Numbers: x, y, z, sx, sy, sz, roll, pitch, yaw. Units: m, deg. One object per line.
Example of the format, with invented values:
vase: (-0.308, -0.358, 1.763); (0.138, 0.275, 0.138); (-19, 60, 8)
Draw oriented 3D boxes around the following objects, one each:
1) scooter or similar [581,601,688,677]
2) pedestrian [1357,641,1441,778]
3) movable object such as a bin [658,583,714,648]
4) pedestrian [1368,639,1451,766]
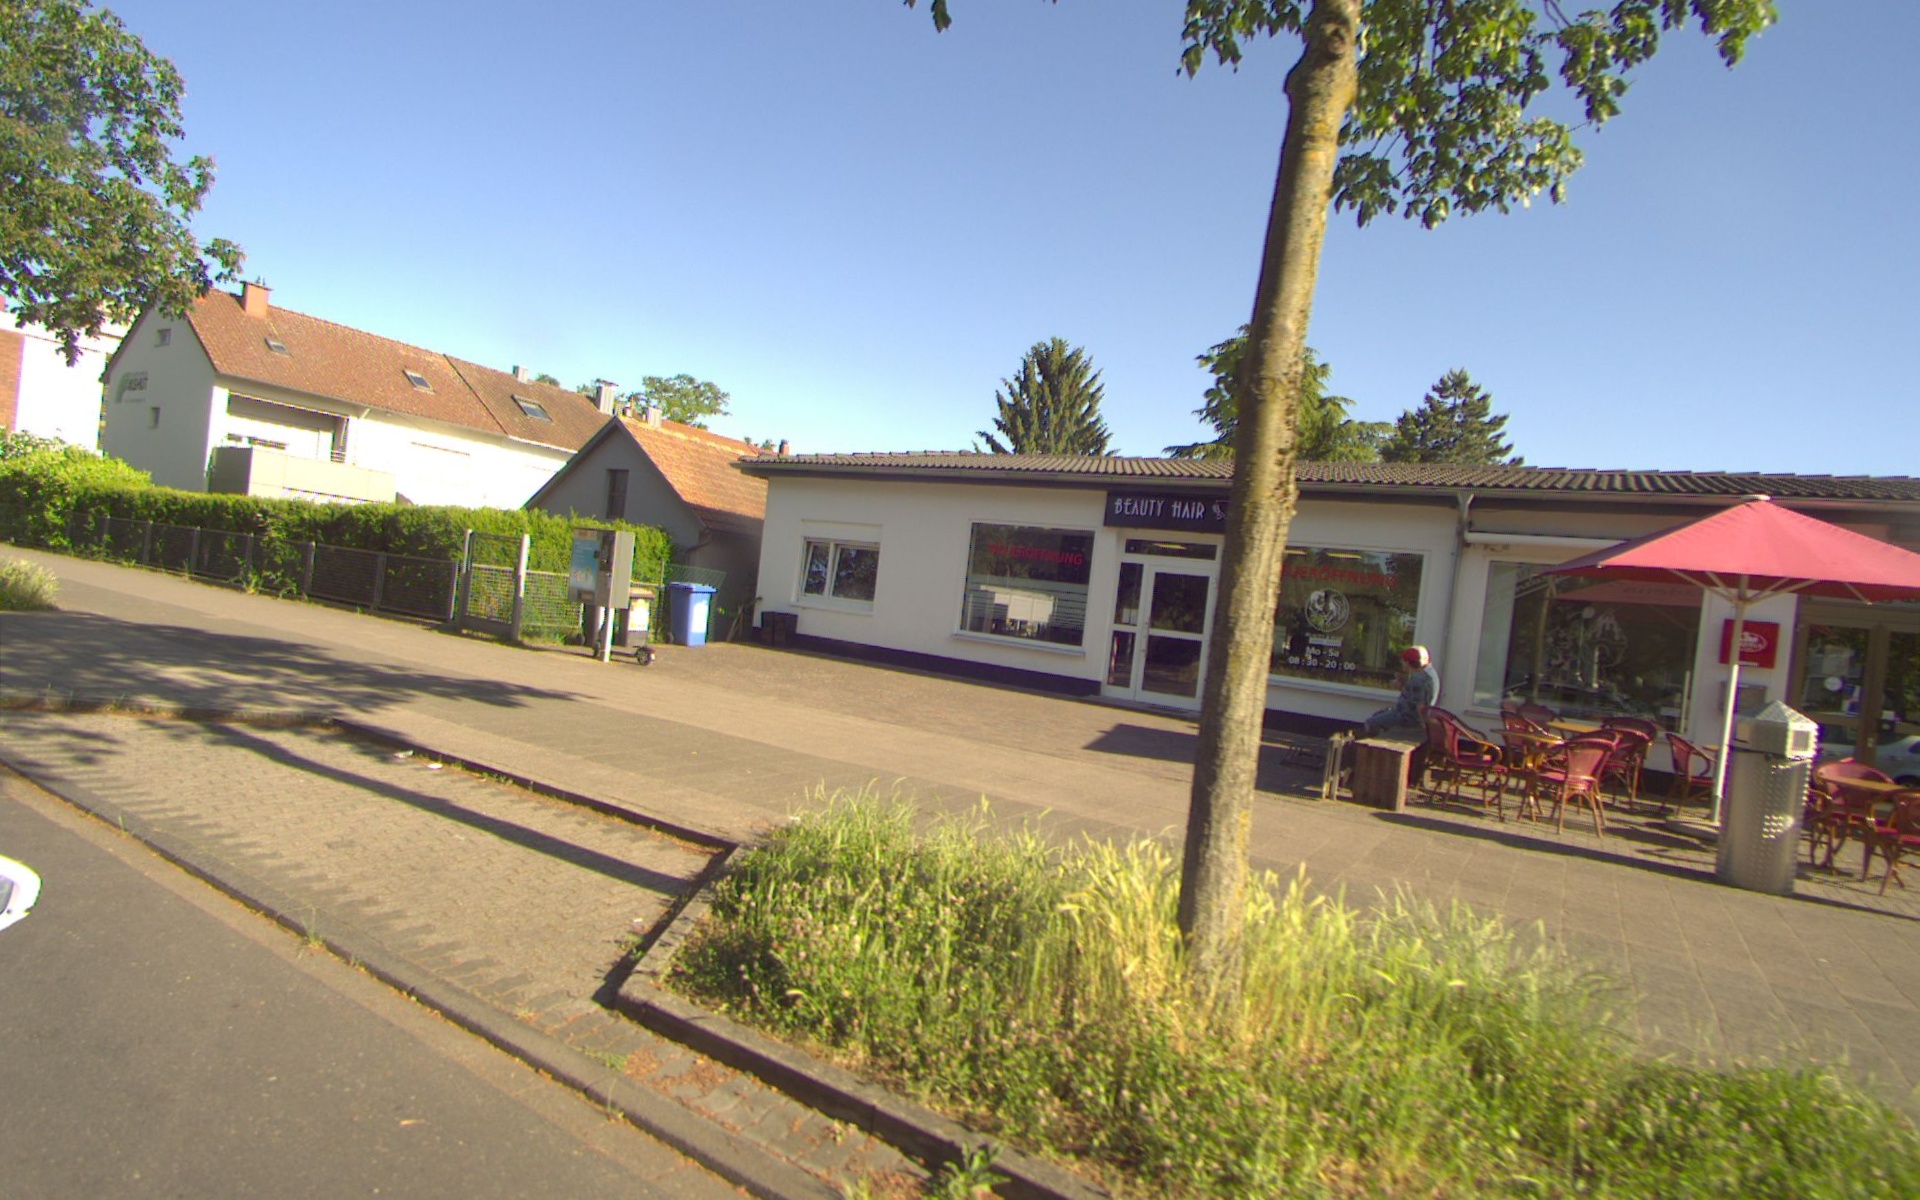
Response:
scooter or similar: (-4.499, 0.533, 13.912); (1.385, 0.868, 0.369); (7, 0, 19)
pedestrian: (4.828, 1.194, 11.072); (0.630, 1.401, 0.439); (6, -1, 38)
movable object such as a bin: (-4.700, 0.264, 17.239); (0.734, 1.045, 0.493); (6, 3, 31)
pedestrian: (5.293, 1.207, 11.855); (0.656, 1.427, 0.489); (4, 1, -29)
